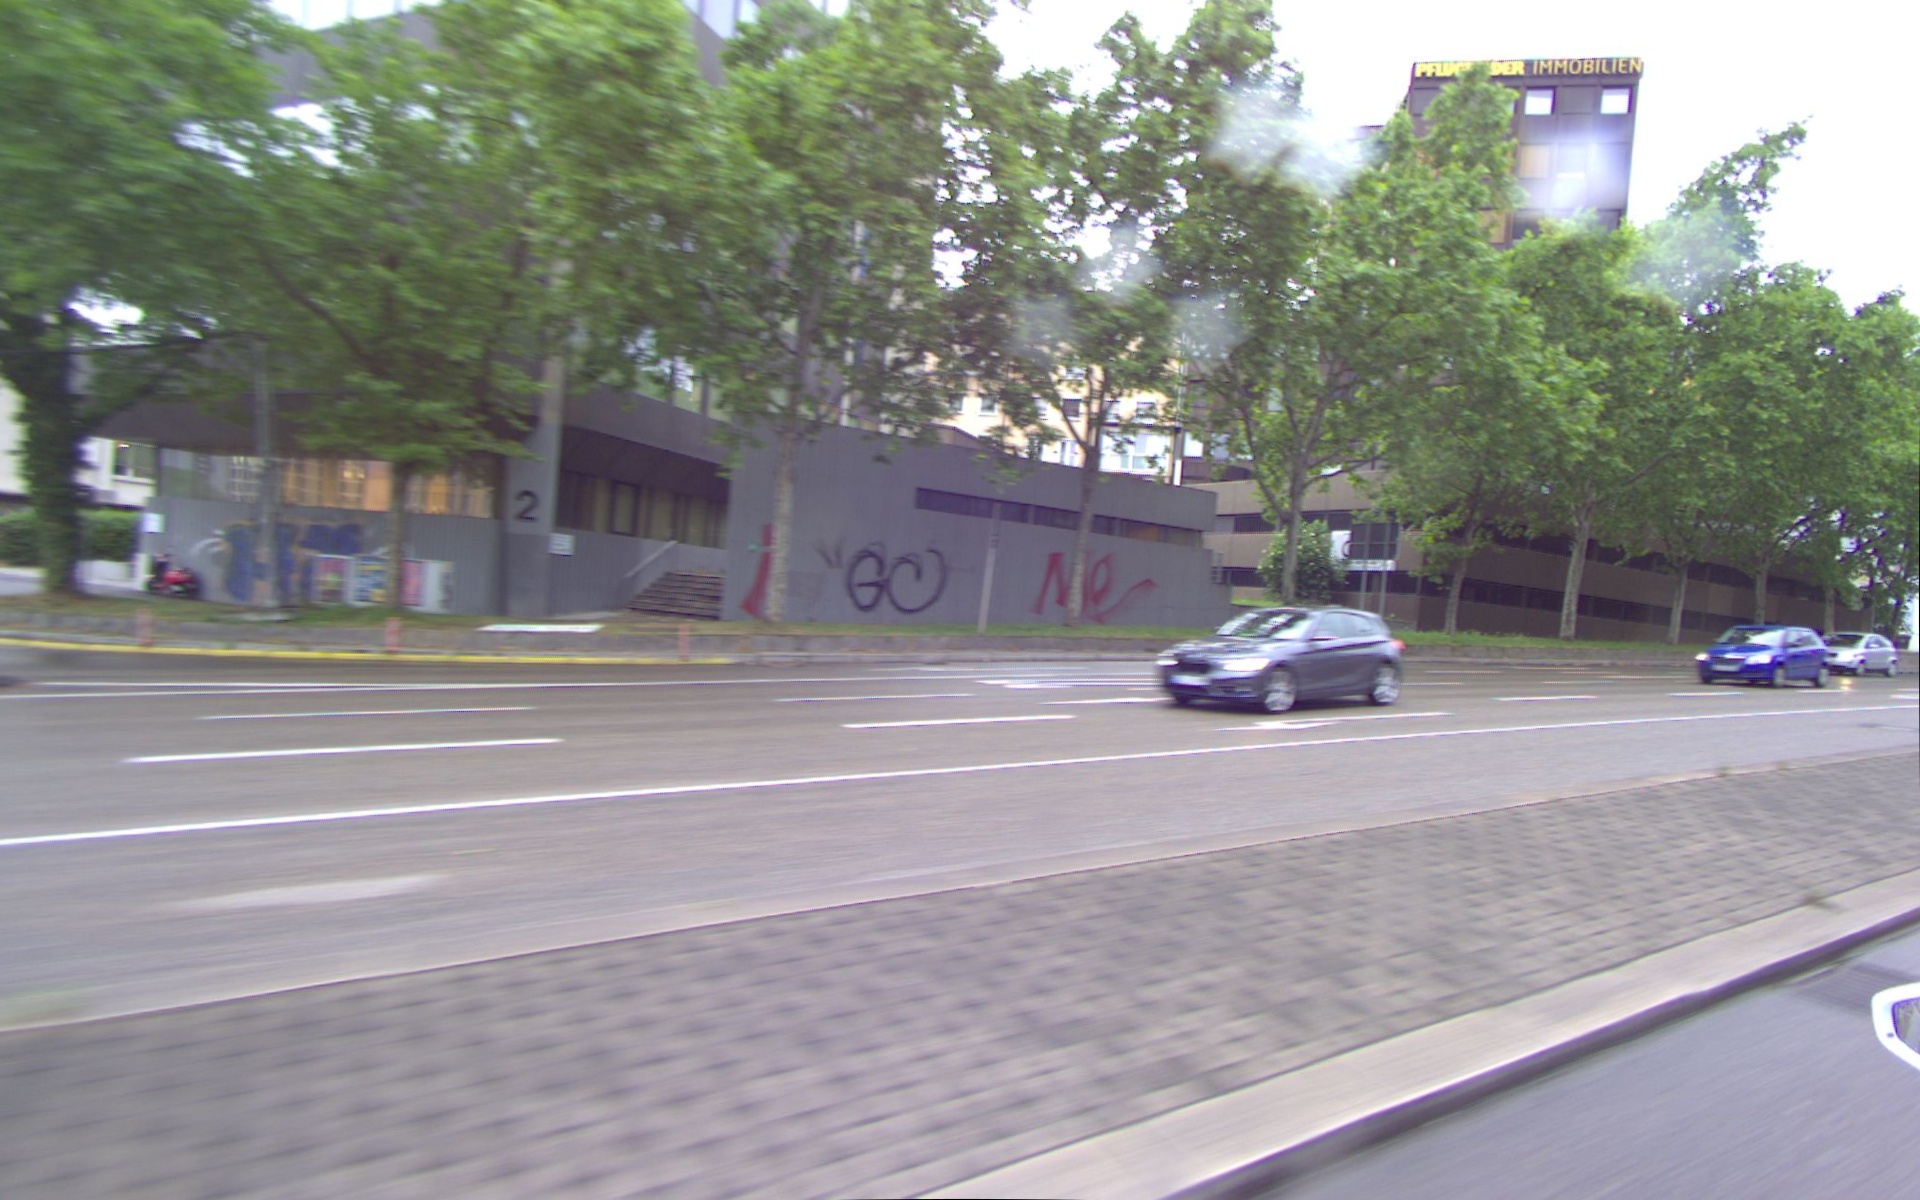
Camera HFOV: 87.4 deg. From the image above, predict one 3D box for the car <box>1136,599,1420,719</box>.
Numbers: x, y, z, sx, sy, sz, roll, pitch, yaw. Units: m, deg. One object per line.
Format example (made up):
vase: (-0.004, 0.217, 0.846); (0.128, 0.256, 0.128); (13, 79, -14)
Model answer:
car: (4.689, 0.758, 14.522); (4.300, 1.468, 1.793); (1, 0, -38)

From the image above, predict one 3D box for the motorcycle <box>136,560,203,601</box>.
motorcycle: (-22.054, -0.557, 28.017); (2.142, 1.051, 0.565); (3, 2, 25)

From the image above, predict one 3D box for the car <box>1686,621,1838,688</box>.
car: (20.075, 1.334, 25.113); (4.019, 1.493, 1.601); (2, 0, -30)

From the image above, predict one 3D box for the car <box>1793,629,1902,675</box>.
car: (31.910, 1.865, 36.109); (3.706, 1.511, 1.592); (2, 1, -26)
